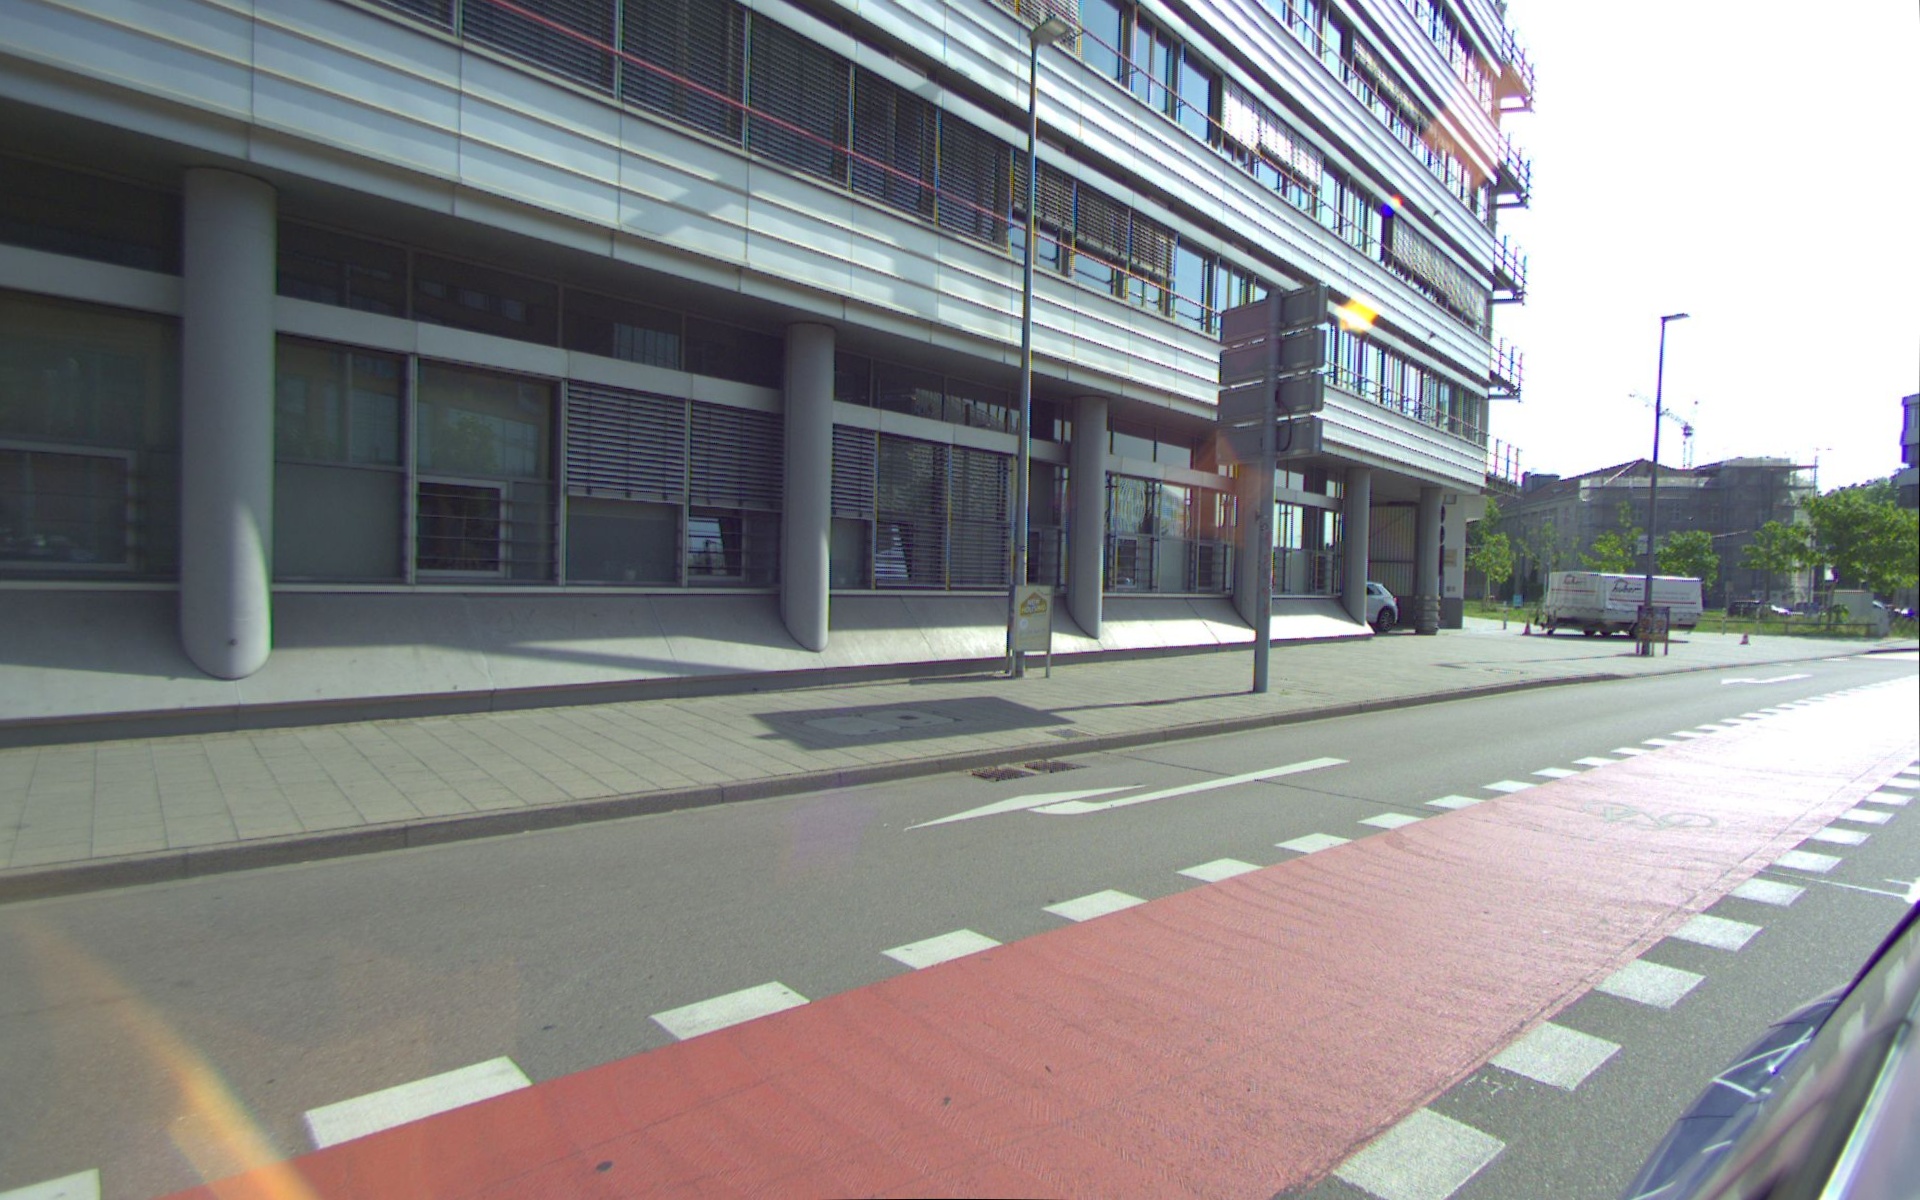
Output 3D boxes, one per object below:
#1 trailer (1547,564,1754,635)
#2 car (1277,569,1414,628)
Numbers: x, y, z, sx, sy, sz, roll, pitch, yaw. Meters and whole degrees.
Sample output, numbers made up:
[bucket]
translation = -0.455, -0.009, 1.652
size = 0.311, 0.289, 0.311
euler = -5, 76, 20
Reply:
[trailer]
translation = 23.090, -0.022, 33.909
size = 5.824, 2.178, 2.402
euler = 1, 1, -14
[car]
translation = 11.647, -0.042, 30.541
size = 3.920, 1.609, 1.752
euler = 2, 1, -31
